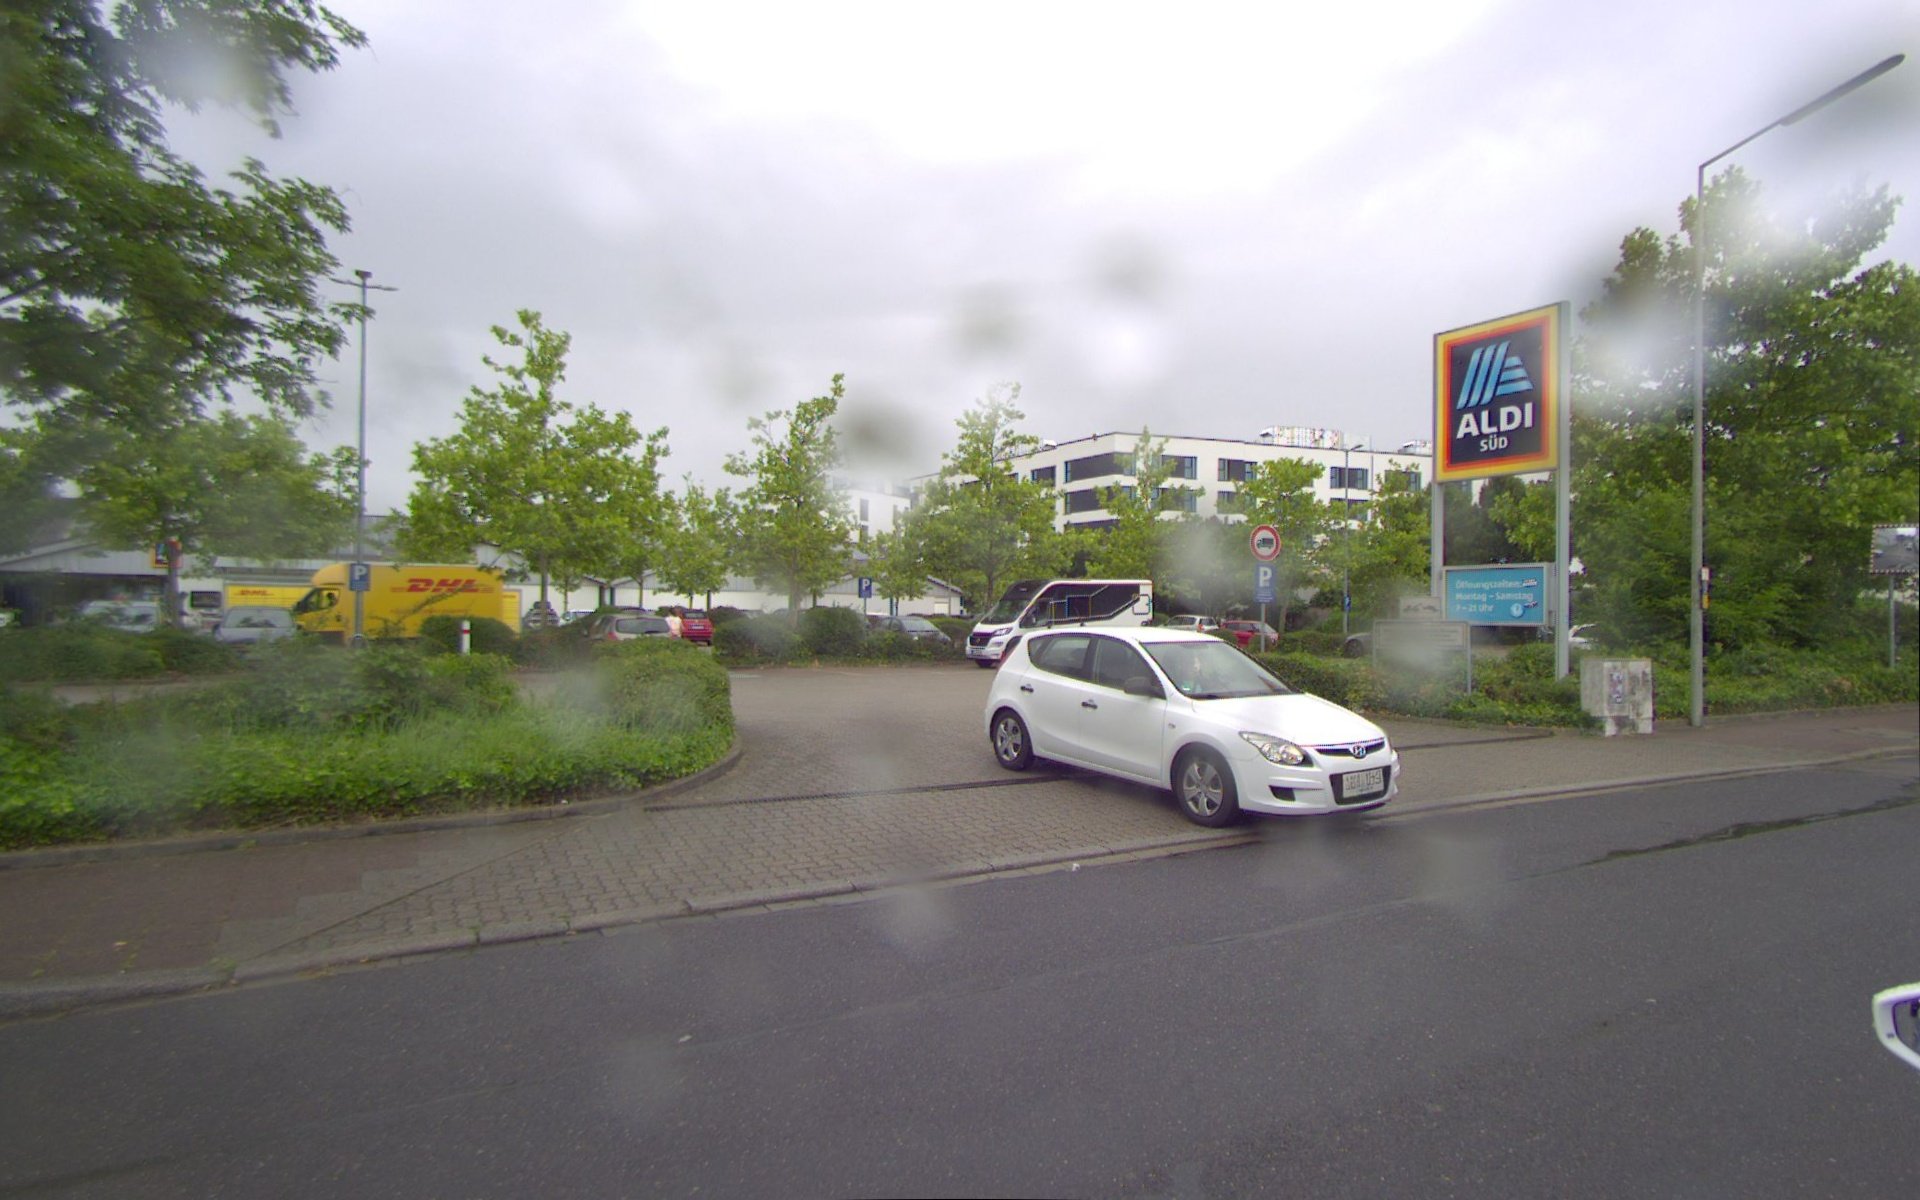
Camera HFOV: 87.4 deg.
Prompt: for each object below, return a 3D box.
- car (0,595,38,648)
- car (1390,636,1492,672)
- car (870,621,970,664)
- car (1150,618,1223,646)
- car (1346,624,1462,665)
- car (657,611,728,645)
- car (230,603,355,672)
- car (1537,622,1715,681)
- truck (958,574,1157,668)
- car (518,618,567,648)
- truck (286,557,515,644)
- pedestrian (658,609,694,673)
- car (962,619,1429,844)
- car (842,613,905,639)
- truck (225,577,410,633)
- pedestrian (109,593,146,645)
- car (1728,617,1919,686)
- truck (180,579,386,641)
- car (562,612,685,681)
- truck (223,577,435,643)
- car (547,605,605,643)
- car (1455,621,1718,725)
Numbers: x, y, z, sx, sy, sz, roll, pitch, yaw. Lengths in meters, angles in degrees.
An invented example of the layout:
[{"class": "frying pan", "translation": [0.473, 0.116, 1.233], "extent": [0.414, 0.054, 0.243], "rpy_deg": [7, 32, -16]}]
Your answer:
[{"class": "car", "translation": [-30.768, 0.618, 30.304], "extent": [4.207, 1.570, 2.028], "rpy_deg": [1, -1, 5]}, {"class": "car", "translation": [22.776, 2.523, 47.649], "extent": [1.976, 1.549, 3.969], "rpy_deg": [1, -1, -29]}, {"class": "car", "translation": [-1.413, 1.396, 33.886], "extent": [1.737, 1.320, 3.969], "rpy_deg": [1, -1, -29]}, {"class": "car", "translation": [13.081, 1.842, 58.196], "extent": [1.976, 1.549, 3.969], "rpy_deg": [1, -1, -29]}, {"class": "car", "translation": [18.162, 1.797, 41.251], "extent": [1.976, 1.519, 3.969], "rpy_deg": [1, -1, -29]}, {"class": "car", "translation": [-11.372, 1.174, 42.501], "extent": [1.976, 1.363, 3.969], "rpy_deg": [1, -1, -29]}, {"class": "car", "translation": [-15.122, 0.801, 22.961], "extent": [1.975, 1.439, 3.970], "rpy_deg": [1, -1, -28]}, {"class": "car", "translation": [19.584, 1.470, 29.692], "extent": [1.888, 1.561, 3.967], "rpy_deg": [1, -1, -30]}, {"class": "truck", "translation": [3.120, 0.674, 31.222], "extent": [6.328, 2.692, 1.982], "rpy_deg": [1, -1, -33]}, {"class": "car", "translation": [-22.482, 1.762, 54.029], "extent": [1.976, 1.542, 3.969], "rpy_deg": [1, -1, -29]}, {"class": "truck", "translation": [-18.044, 0.087, 32.700], "extent": [6.322, 2.636, 1.984], "rpy_deg": [1, -1, -31]}, {"class": "pedestrian", "translation": [-7.574, 1.079, 26.750], "extent": [0.760, 1.656, 0.772], "rpy_deg": [1, -1, -28]}, {"class": "car", "translation": [1.885, 0.976, 9.285], "extent": [1.695, 1.479, 4.164], "rpy_deg": [1, 0, -34]}, {"class": "car", "translation": [-4.799, 1.394, 55.428], "extent": [1.976, 1.363, 3.969], "rpy_deg": [1, -1, -29]}, {"class": "truck", "translation": [-25.592, 0.248, 40.224], "extent": [6.072, 2.087, 1.981], "rpy_deg": [1, -1, -35]}, {"class": "pedestrian", "translation": [-32.616, 0.734, 39.369], "extent": [0.902, 1.988, 1.297], "rpy_deg": [1, -1, -32]}, {"class": "car", "translation": [21.957, 1.232, 25.139], "extent": [1.888, 1.561, 3.967], "rpy_deg": [1, -1, -30]}, {"class": "truck", "translation": [-24.479, 0.407, 36.594], "extent": [6.072, 2.087, 1.981], "rpy_deg": [1, -1, -35]}, {"class": "car", "translation": [-8.043, 1.040, 23.783], "extent": [1.695, 1.479, 4.164], "rpy_deg": [1, -1, -34]}, {"class": "truck", "translation": [-21.885, 0.399, 35.078], "extent": [6.072, 2.122, 1.981], "rpy_deg": [1, -1, -35]}, {"class": "car", "translation": [-18.172, 1.129, 47.420], "extent": [1.835, 1.692, 3.965], "rpy_deg": [1, -1, -32]}, {"class": "car", "translation": [10.959, 1.201, 17.809], "extent": [1.692, 1.479, 3.552], "rpy_deg": [1, 1, -30]}]
